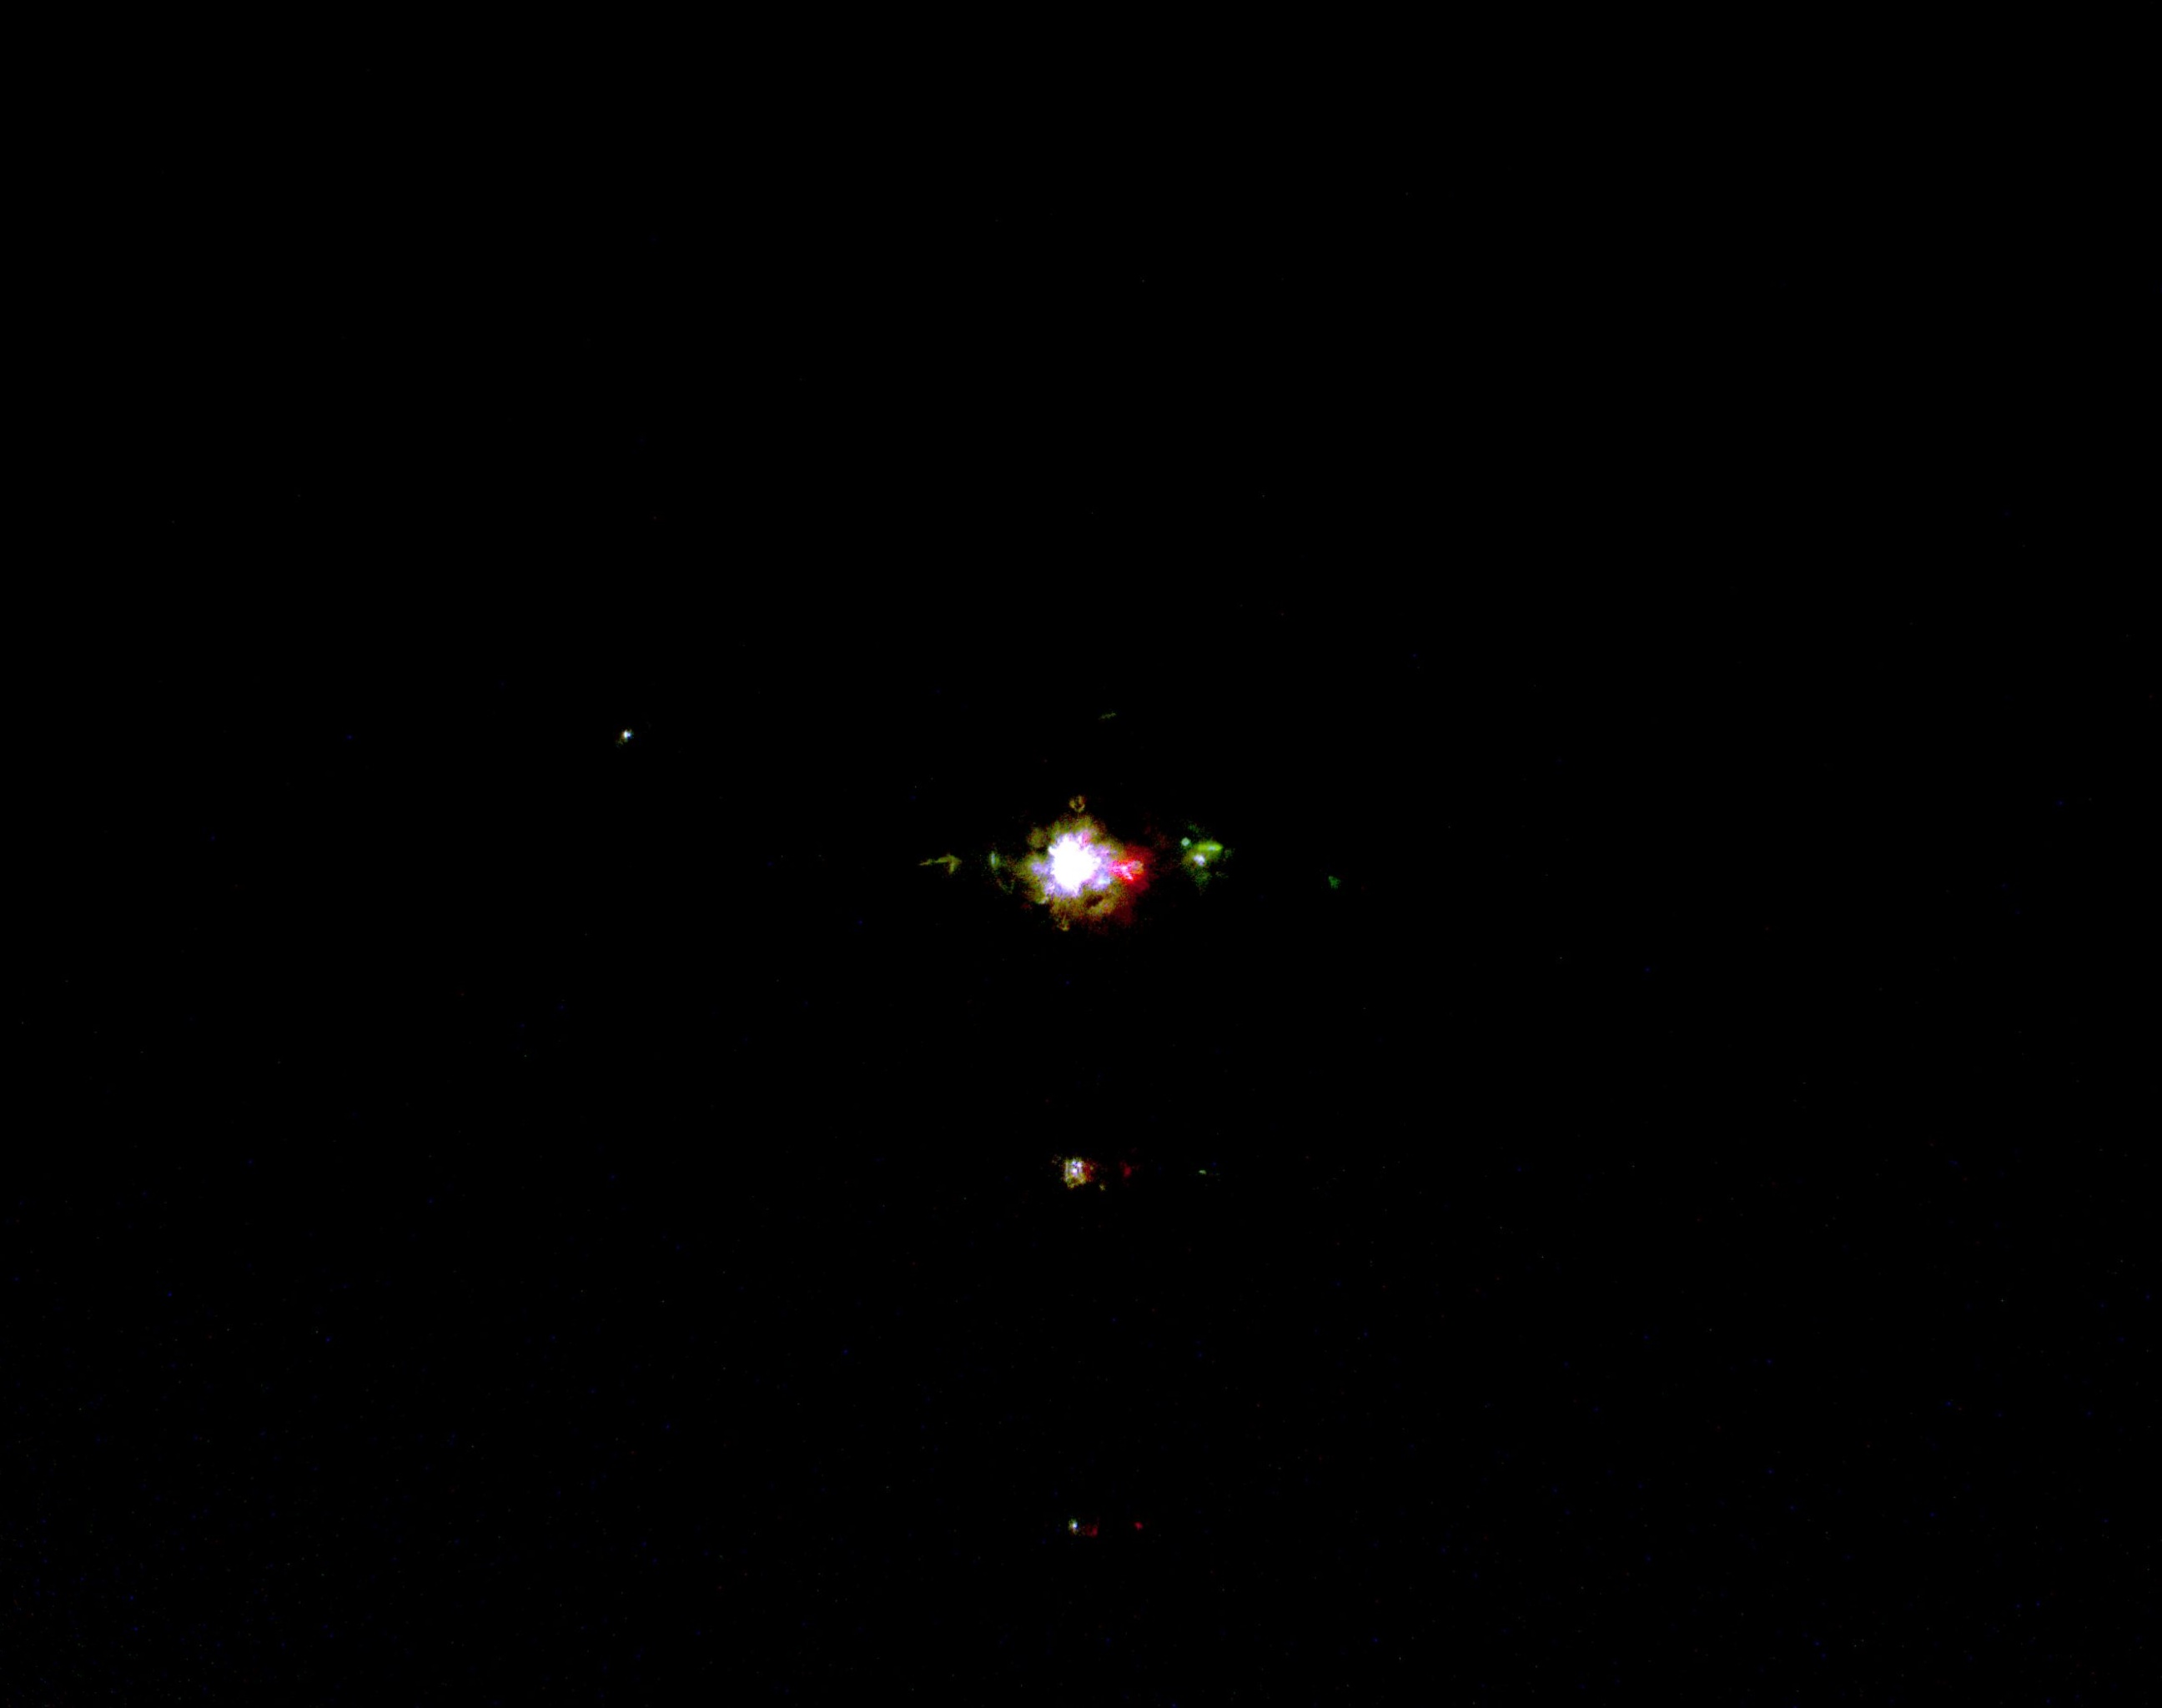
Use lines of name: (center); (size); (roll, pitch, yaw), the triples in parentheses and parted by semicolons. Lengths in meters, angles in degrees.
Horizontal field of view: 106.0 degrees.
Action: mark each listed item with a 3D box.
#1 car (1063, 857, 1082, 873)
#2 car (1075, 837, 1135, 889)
car: (-0.919, 1.169, 85.674); (1.893, 1.644, 3.791); (0, 0, 1)
car: (0.733, 0.280, 27.537); (1.804, 1.622, 3.998); (-1, 0, -1)
